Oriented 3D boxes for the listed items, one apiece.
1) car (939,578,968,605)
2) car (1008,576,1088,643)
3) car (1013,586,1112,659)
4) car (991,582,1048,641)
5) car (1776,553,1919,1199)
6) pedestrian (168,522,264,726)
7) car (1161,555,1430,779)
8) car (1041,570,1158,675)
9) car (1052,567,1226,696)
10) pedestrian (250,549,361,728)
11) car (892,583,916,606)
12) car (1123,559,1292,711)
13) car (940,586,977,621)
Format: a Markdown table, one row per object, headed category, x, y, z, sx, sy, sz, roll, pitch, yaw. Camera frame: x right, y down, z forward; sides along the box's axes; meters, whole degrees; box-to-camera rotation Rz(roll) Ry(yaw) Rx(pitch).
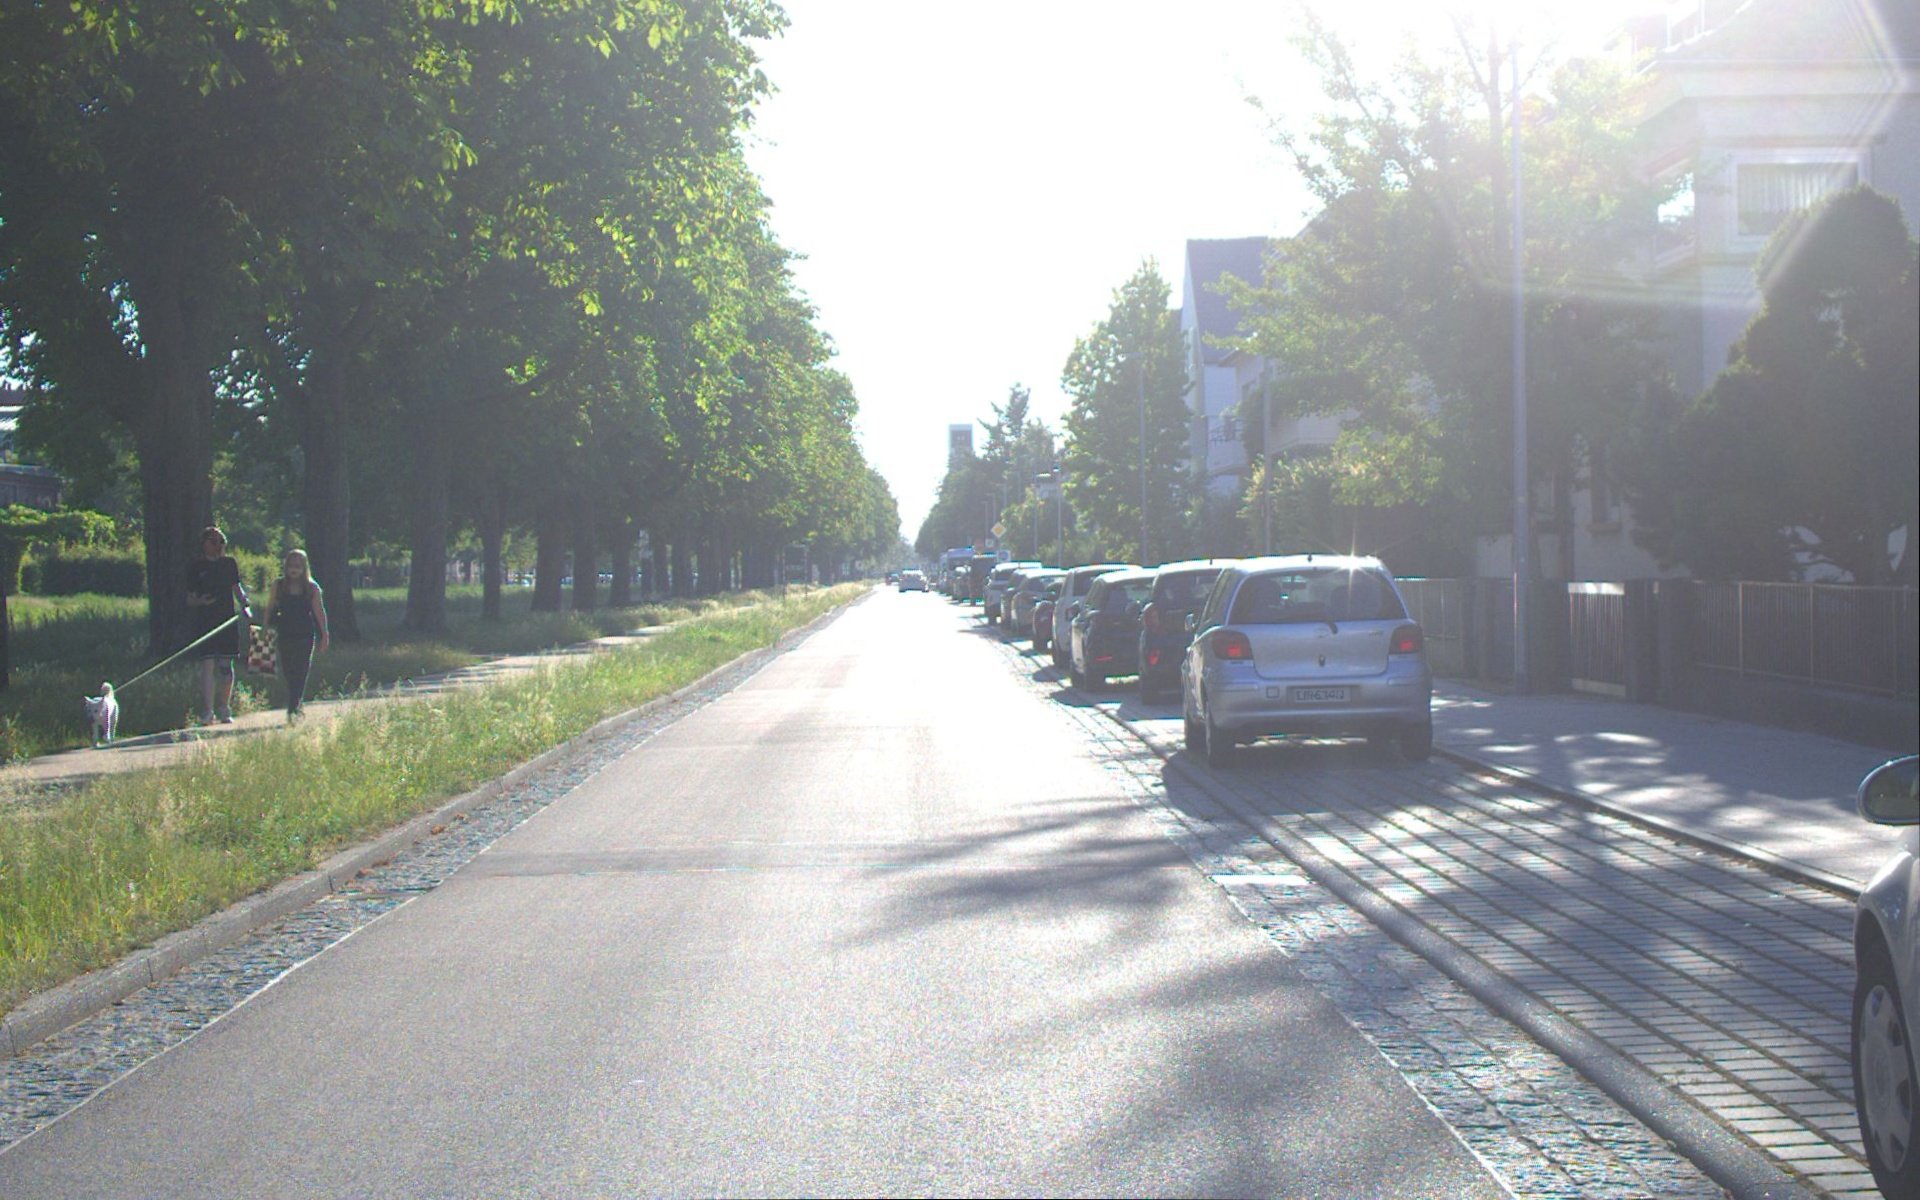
| category | x | y | z | sx | sy | sz | roll | pitch | yaw |
| --- | --- | --- | --- | --- | --- | --- | --- | --- | --- |
| car | -0.351 | -0.494 | 200.598 | 1.652 | 1.536 | 3.266 | 0 | 0 | 0 |
| car | 1.912 | 0.200 | 75.336 | 1.652 | 1.392 | 3.266 | -1 | 0 | 0 |
| car | 1.826 | 0.390 | 62.035 | 1.693 | 1.244 | 3.497 | -1 | 0 | 0 |
| car | 1.614 | 0.297 | 94.204 | 1.498 | 1.561 | 3.266 | -1 | 0 | 0 |
| car | 2.725 | 0.613 | 6.187 | 1.744 | 1.469 | 3.922 | -4 | 0 | 4 |
| pedestrian | -6.771 | 0.215 | 31.325 | 0.624 | 1.825 | 0.886 | -1 | 0 | 3 |
| car | 2.479 | 0.450 | 26.132 | 1.627 | 1.499 | 3.633 | -3 | 1 | 0 |
| car | 2.079 | 0.324 | 52.042 | 1.592 | 1.505 | 3.591 | -1 | 0 | 0 |
| car | 2.160 | 0.378 | 42.528 | 1.736 | 1.444 | 4.197 | -2 | 0 | -2 |
| pedestrian | -6.004 | 0.342 | 31.579 | 0.783 | 1.609 | 0.952 | -1 | 0 | 3 |
| car | -3.790 | -0.370 | 233.364 | 1.652 | 1.536 | 3.266 | 0 | 0 | -1 |
| car | 2.622 | 0.360 | 36.983 | 1.658 | 1.489 | 3.715 | -2 | 0 | 3 |
| car | -0.052 | 0.155 | 155.954 | 1.652 | 1.536 | 3.266 | 0 | 0 | 0 |
